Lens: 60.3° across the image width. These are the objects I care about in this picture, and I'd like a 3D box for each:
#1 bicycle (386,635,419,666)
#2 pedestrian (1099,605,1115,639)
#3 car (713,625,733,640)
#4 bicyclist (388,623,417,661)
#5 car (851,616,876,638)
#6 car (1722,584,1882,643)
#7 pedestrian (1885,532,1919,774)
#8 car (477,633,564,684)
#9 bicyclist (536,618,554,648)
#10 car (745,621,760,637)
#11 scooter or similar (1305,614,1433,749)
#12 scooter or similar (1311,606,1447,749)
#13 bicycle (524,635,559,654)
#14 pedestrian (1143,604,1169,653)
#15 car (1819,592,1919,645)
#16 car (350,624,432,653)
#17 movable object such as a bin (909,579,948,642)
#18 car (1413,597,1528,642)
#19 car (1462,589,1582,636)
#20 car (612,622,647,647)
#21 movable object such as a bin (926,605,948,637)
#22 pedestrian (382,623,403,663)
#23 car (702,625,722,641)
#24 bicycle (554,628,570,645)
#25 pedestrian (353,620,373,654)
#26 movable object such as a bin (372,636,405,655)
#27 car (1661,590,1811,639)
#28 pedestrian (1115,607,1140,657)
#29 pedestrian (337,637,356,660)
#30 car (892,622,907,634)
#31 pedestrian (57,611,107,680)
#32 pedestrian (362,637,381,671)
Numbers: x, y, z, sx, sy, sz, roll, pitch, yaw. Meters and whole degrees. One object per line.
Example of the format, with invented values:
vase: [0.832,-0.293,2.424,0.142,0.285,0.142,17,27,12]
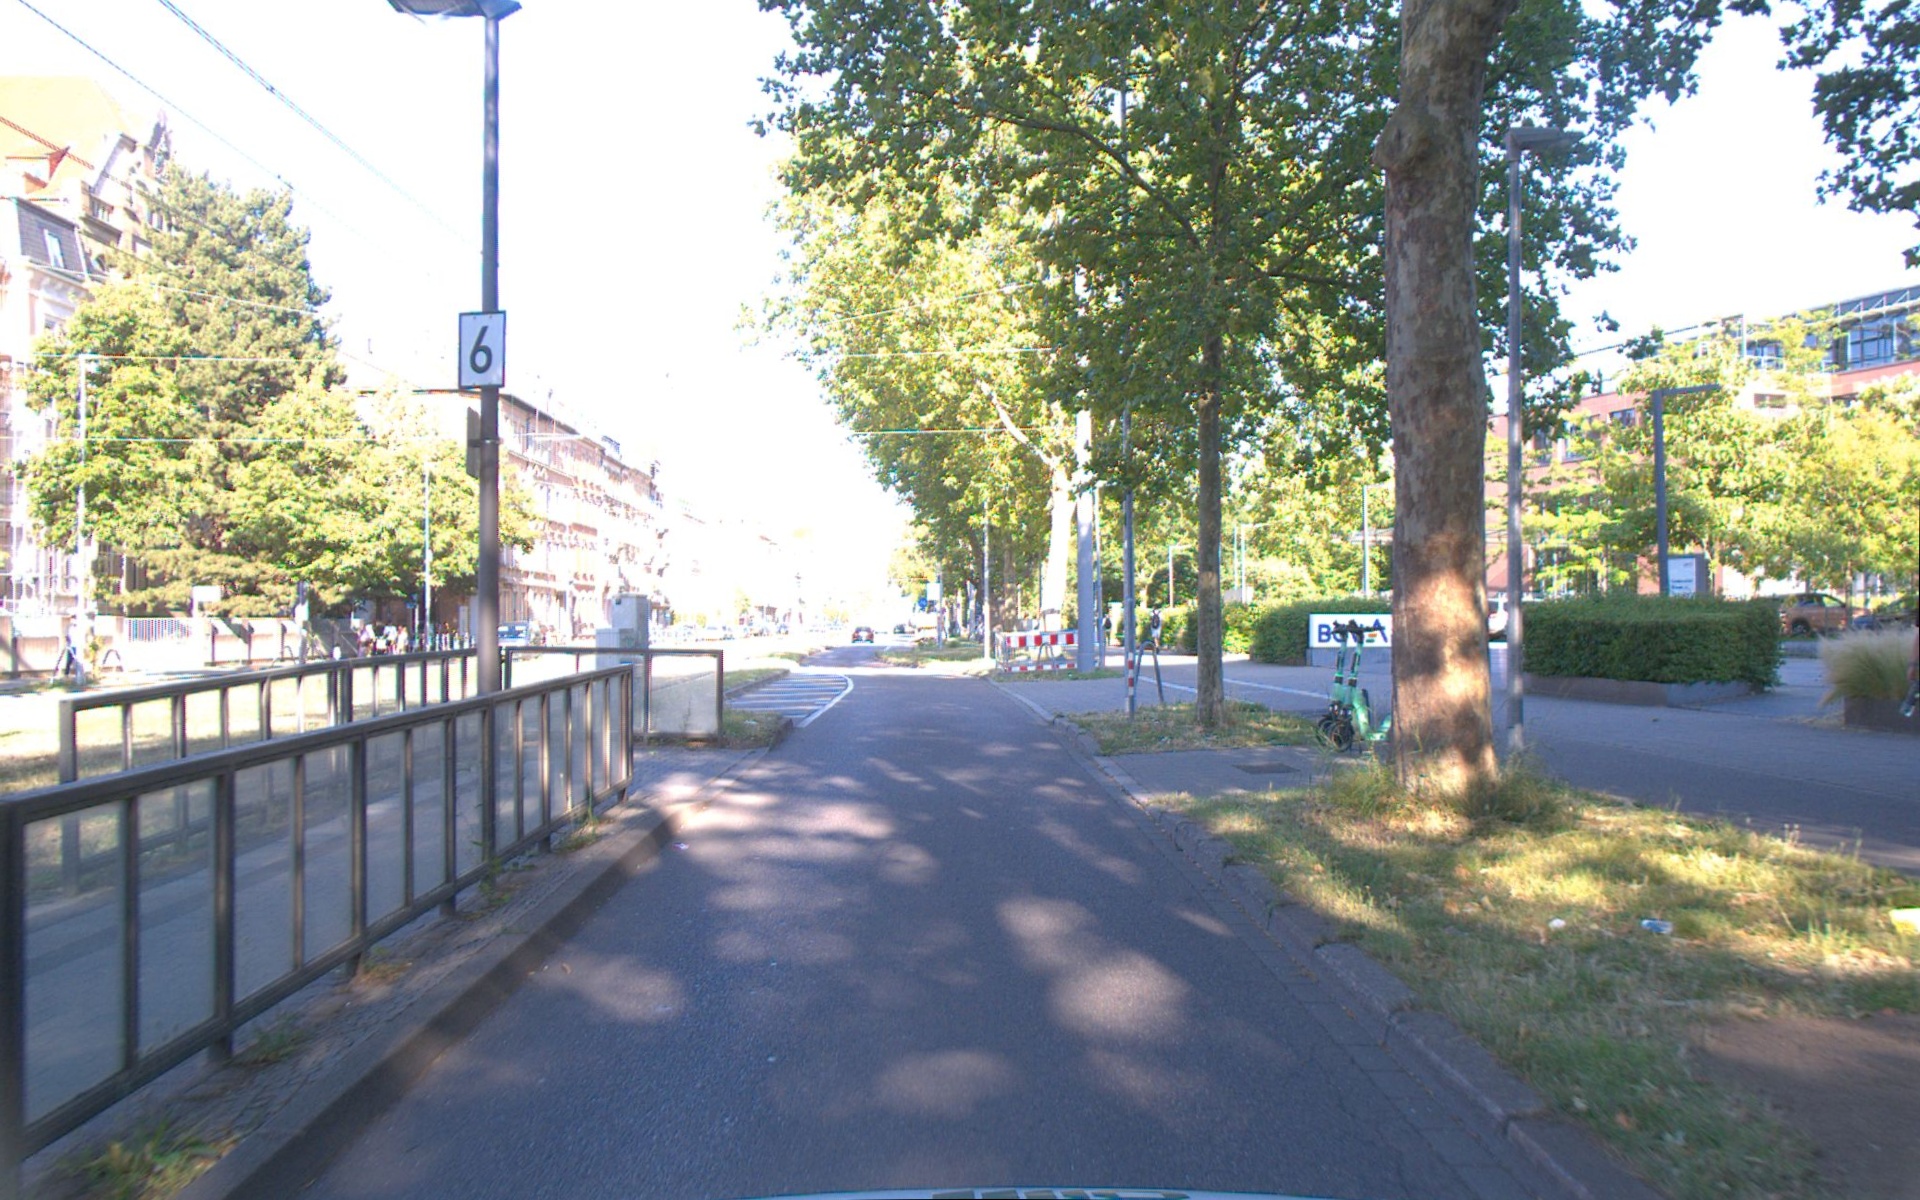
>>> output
bicycle: [-22.448,2.033,66.652,0.759,1.214,1.755,1,-1,-2]
pedestrian: [7.080,1.059,79.515,0.636,1.566,0.783,-2,-1,-1]
car: [-26.647,3.668,185.933,1.706,1.588,3.766,2,0,-2]
bicyclist: [-22.433,1.688,66.581,0.759,1.507,1.133,1,-1,-2]
car: [-8.035,2.243,137.947,1.953,1.713,3.999,2,-1,-1]
car: [27.388,0.420,53.813,4.603,1.743,2.060,-2,0,-21]
pedestrian: [6.998,0.365,11.526,0.615,1.685,0.739,-2,-1,-1]
car: [-19.000,2.531,71.647,1.898,1.951,4.475,5,-2,8]
bicyclist: [-24.954,1.995,99.386,0.901,1.744,0.766,-1,4,-6]
car: [-28.345,3.972,226.153,1.625,2.177,3.524,1,0,-2]
scooter or similar: [4.012,0.791,16.293,1.030,1.266,0.841,-1,-1,1]
scooter or similar: [3.885,0.709,15.399,1.030,1.266,0.841,-1,-1,1]
bicycle: [-25.158,2.679,99.408,1.915,1.058,0.766,-1,4,-6]
pedestrian: [7.329,1.064,61.871,0.789,1.825,1.109,-2,-1,-1]
car: [28.127,0.517,49.178,4.603,1.511,2.060,-1,0,-21]
car: [-31.131,2.102,90.474,4.097,1.497,1.997,0,-2,28]
movable object such as a bin: [-2.813,0.967,145.807,3.025,5.177,8.888,-3,-1,-2]
car: [21.860,0.803,70.848,4.606,1.743,1.836,-2,0,-22]
car: [23.112,0.500,68.006,4.606,1.743,1.836,-2,0,-22]
car: [-26.153,2.729,131.016,1.975,1.784,4.556,2,0,-2]
movable object such as a bin: [-2.333,2.159,167.969,1.929,3.065,4.794,-3,-1,-2]
pedestrian: [-26.061,1.973,75.971,0.637,1.806,0.888,-2,-1,-3]
car: [-27.127,3.573,181.161,1.706,1.588,3.766,2,0,-2]
bicycle: [-29.414,2.685,122.265,0.685,1.201,1.750,1,-1,-1]
pedestrian: [-27.627,1.700,76.605,0.637,1.566,0.783,-2,-1,-3]
movable object such as a bin: [-28.035,2.240,81.113,1.220,0.880,1.236,2,-2,-3]
car: [26.351,0.491,56.197,4.603,1.491,1.951,-2,0,-21]
pedestrian: [6.224,1.206,61.607,0.735,1.825,1.086,-2,-1,-1]
pedestrian: [-26.476,2.097,71.383,0.637,0.948,0.584,-1,-1,-5]
car: [-9.360,4.330,256.459,1.956,1.892,3.993,2,-1,-8]
pedestrian: [-25.365,1.312,47.804,0.841,1.961,1.086,-2,-1,-3]
pedestrian: [-28.483,2.627,80.012,0.605,1.621,0.797,1,-1,-3]
